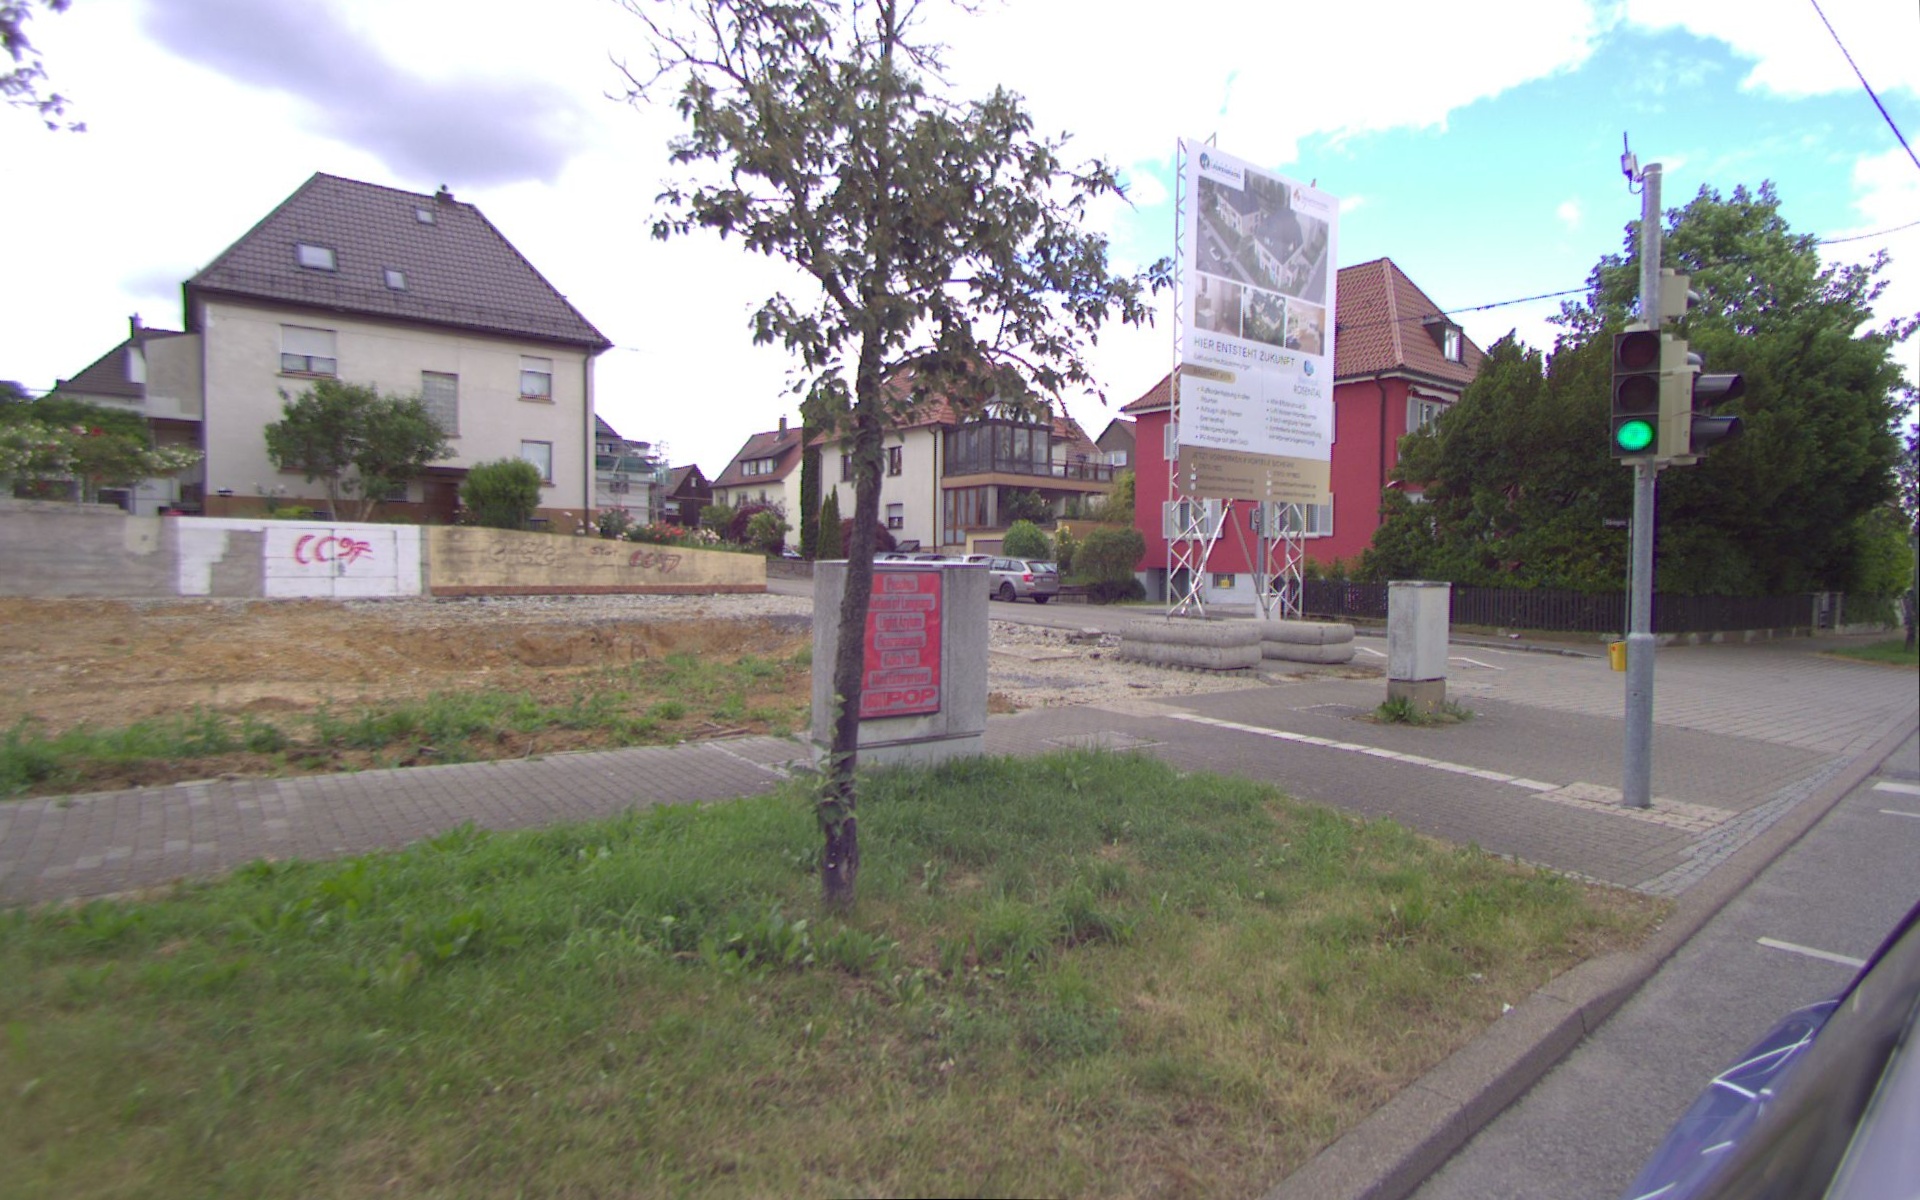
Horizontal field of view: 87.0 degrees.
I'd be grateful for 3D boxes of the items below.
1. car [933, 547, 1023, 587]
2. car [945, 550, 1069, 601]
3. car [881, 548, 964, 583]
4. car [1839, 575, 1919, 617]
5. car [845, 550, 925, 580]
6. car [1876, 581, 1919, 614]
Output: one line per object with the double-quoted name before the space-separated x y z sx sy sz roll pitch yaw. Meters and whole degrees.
"car" 0.764 -1.322 41.084 3.439 1.560 1.621 -1 1 -40
"car" 1.516 -0.844 33.990 1.729 1.442 4.231 1 3 -39
"car" -1.647 -1.500 44.805 3.439 1.485 1.621 -1 1 -40
"car" 42.351 -0.185 45.999 1.553 1.653 3.359 0 5 -42
"car" -3.461 -1.603 46.889 3.439 1.340 1.621 -1 1 -40
"car" 45.208 -0.086 47.341 1.721 1.477 3.355 0 3 -44
